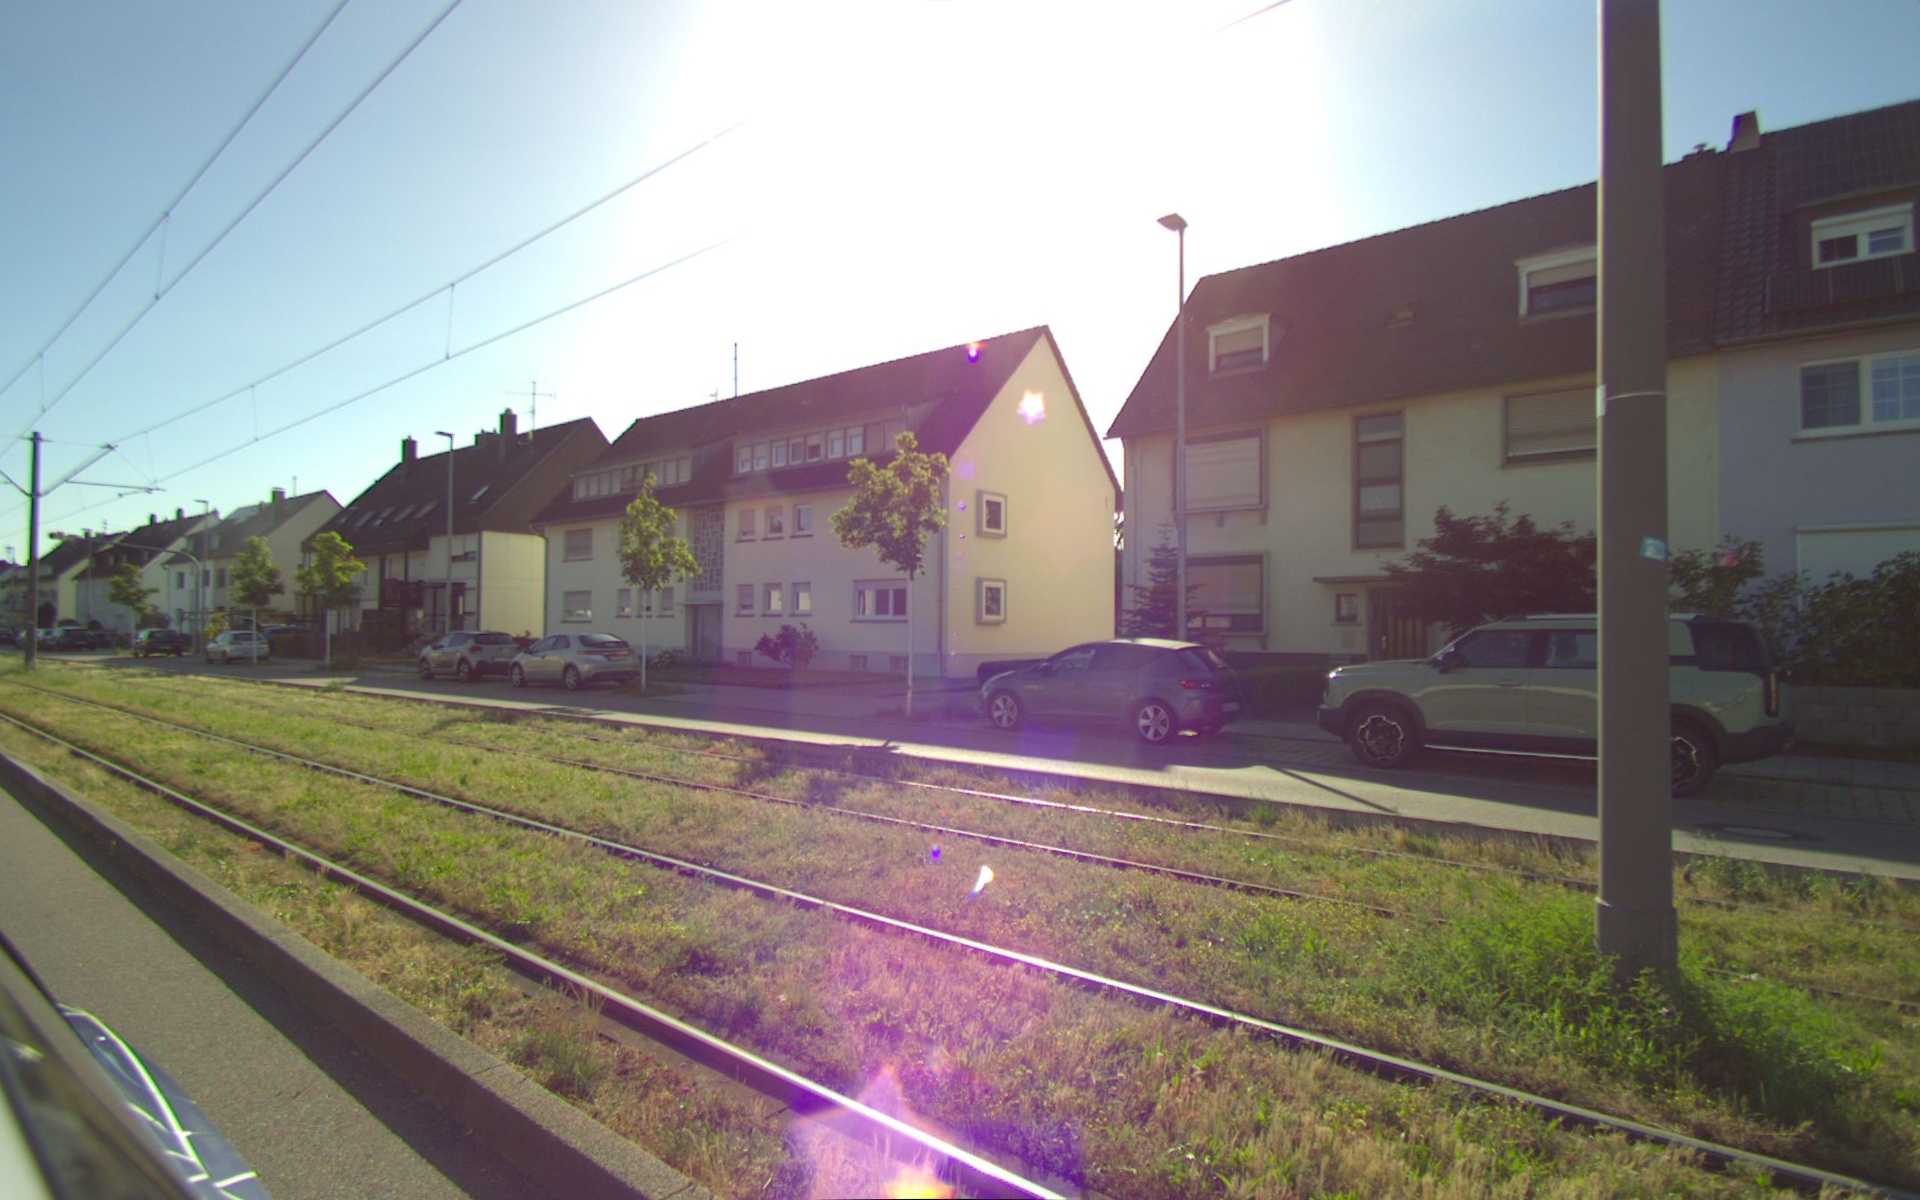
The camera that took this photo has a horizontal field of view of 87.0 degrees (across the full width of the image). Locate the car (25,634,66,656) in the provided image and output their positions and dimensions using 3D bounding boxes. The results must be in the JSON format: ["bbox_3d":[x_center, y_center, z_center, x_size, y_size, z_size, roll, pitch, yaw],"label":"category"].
[{"bbox_3d":[-63.111,3.077,69.831,3.993,1.479,1.451,-2,-3,38],"label":"car"}]

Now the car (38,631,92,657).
[{"bbox_3d":[-58.919,2.895,66.611,4.853,1.572,1.902,-1,-1,39],"label":"car"}]

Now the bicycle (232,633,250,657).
[{"bbox_3d":[-36.132,2.252,50.856,0.471,1.172,1.872,0,-1,-44],"label":"bicycle"}]

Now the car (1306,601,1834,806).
[{"bbox_3d":[6.606,0.979,11.393,4.839,1.837,1.727,-1,-1,41],"label":"car"}]

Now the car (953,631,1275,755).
[{"bbox_3d":[2.236,1.287,15.500,4.554,1.552,1.940,-1,-1,41],"label":"car"}]

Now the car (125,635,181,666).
[{"bbox_3d":[-42.275,2.606,52.981,4.082,1.523,1.602,-2,-2,41],"label":"car"}]

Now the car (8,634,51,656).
[{"bbox_3d":[-67.214,3.219,73.087,4.396,1.466,1.637,-1,-1,39],"label":"car"}]

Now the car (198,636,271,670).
[{"bbox_3d":[-32.302,2.315,45.028,4.098,1.447,1.641,-2,-2,39],"label":"car"}]

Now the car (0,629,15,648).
[{"bbox_3d":[-78.491,3.130,82.413,4.088,1.408,1.683,-1,-1,39],"label":"car"}]

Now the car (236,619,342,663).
[{"bbox_3d":[-35.938,2.143,54.304,1.786,2.096,4.415,-1,1,40],"label":"car"}]

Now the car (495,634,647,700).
[{"bbox_3d":[-10.064,1.648,26.054,4.438,1.487,1.672,-1,-1,39],"label":"car"}]

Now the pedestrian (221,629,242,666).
[{"bbox_3d":[-36.433,2.367,50.614,0.676,1.829,0.611,-1,-1,31],"label":"pedestrian"}]

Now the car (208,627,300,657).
[{"bbox_3d":[-44.244,2.616,63.479,1.968,1.797,4.348,-2,-3,39],"label":"car"}]

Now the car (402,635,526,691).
[{"bbox_3d":[-14.792,1.815,30.070,4.310,1.484,1.672,-1,-1,39],"label":"car"}]
